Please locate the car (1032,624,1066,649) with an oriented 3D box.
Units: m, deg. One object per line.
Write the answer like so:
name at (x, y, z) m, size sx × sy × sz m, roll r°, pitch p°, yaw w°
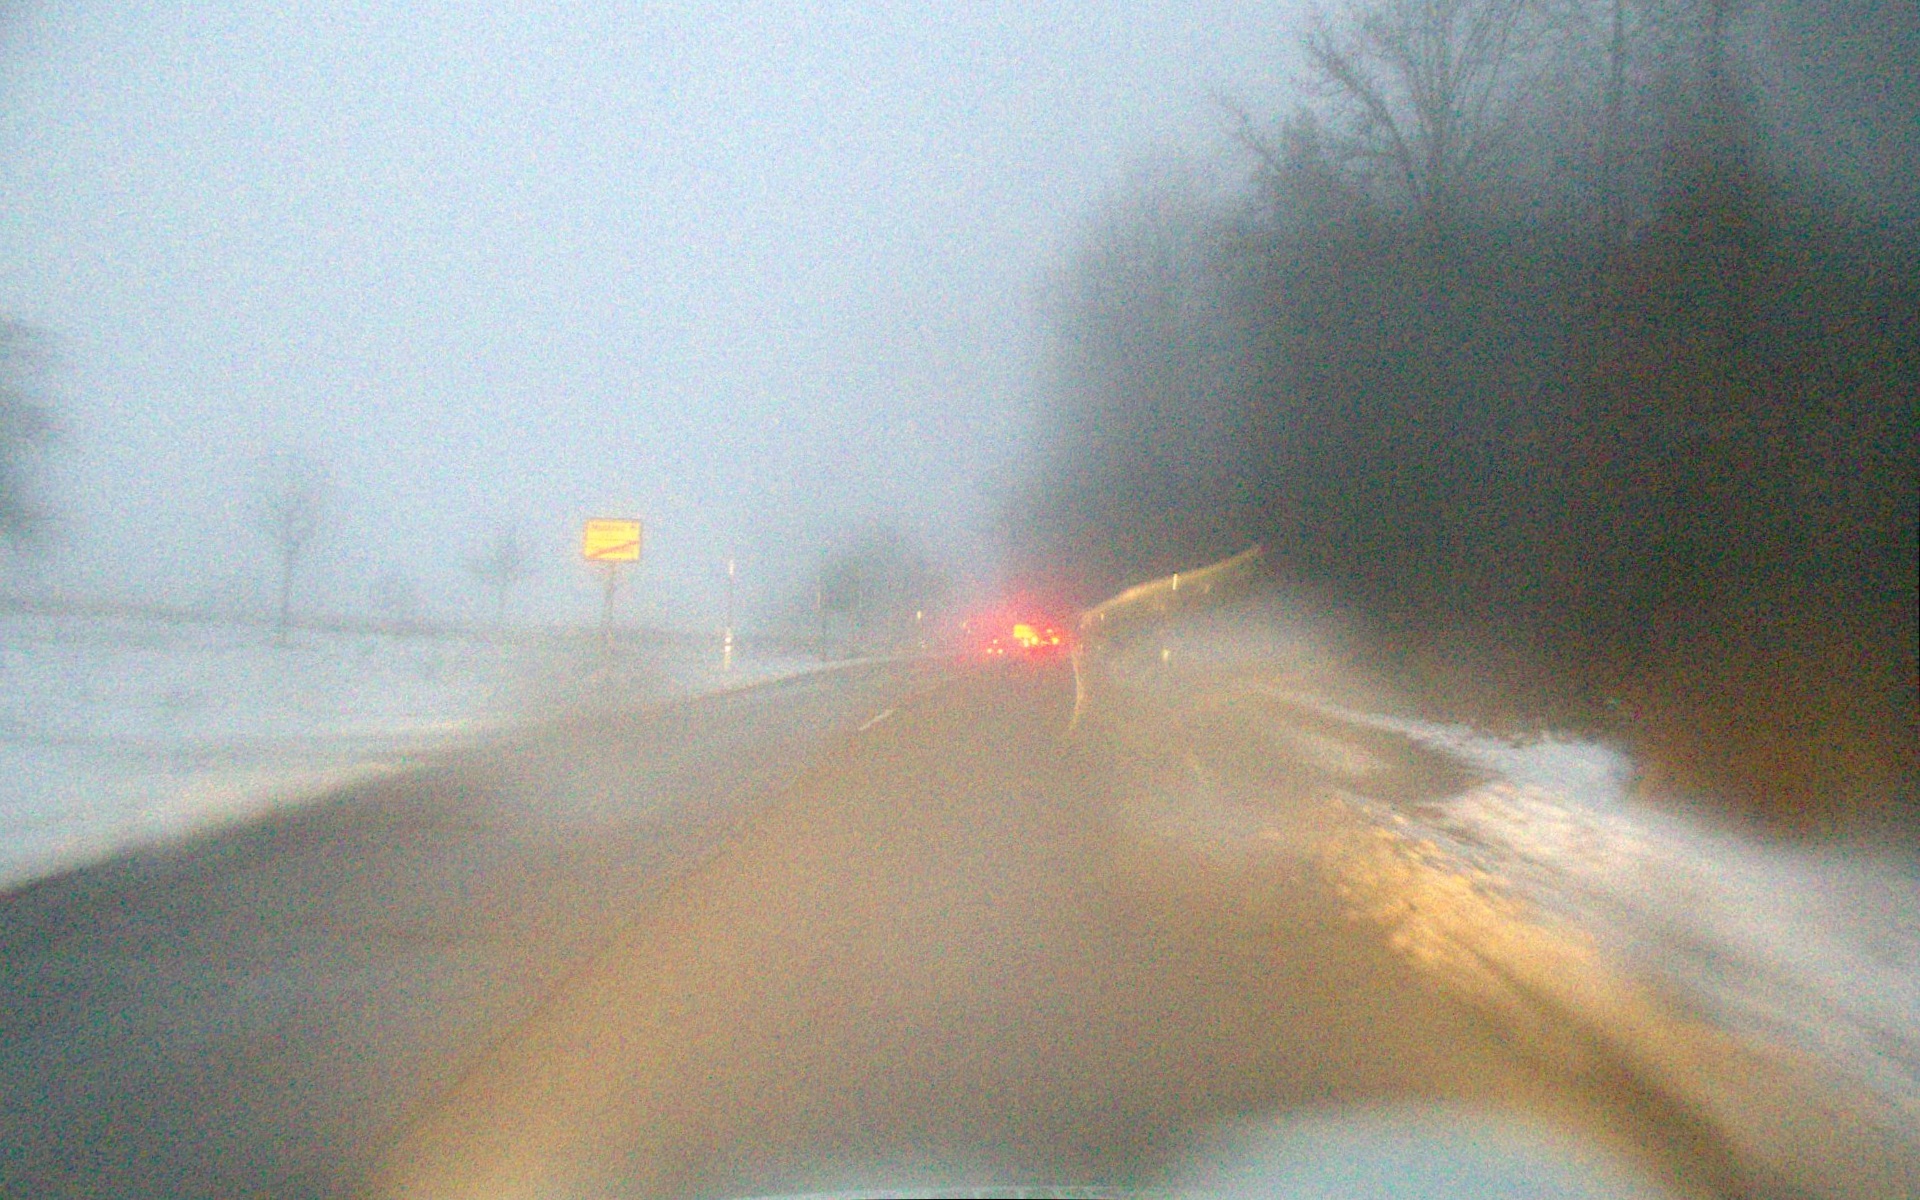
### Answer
car at (5.377, 2.255, 100.817) m, size 1.952 × 1.445 × 4.000 m, roll 1°, pitch -2°, yaw 1°
